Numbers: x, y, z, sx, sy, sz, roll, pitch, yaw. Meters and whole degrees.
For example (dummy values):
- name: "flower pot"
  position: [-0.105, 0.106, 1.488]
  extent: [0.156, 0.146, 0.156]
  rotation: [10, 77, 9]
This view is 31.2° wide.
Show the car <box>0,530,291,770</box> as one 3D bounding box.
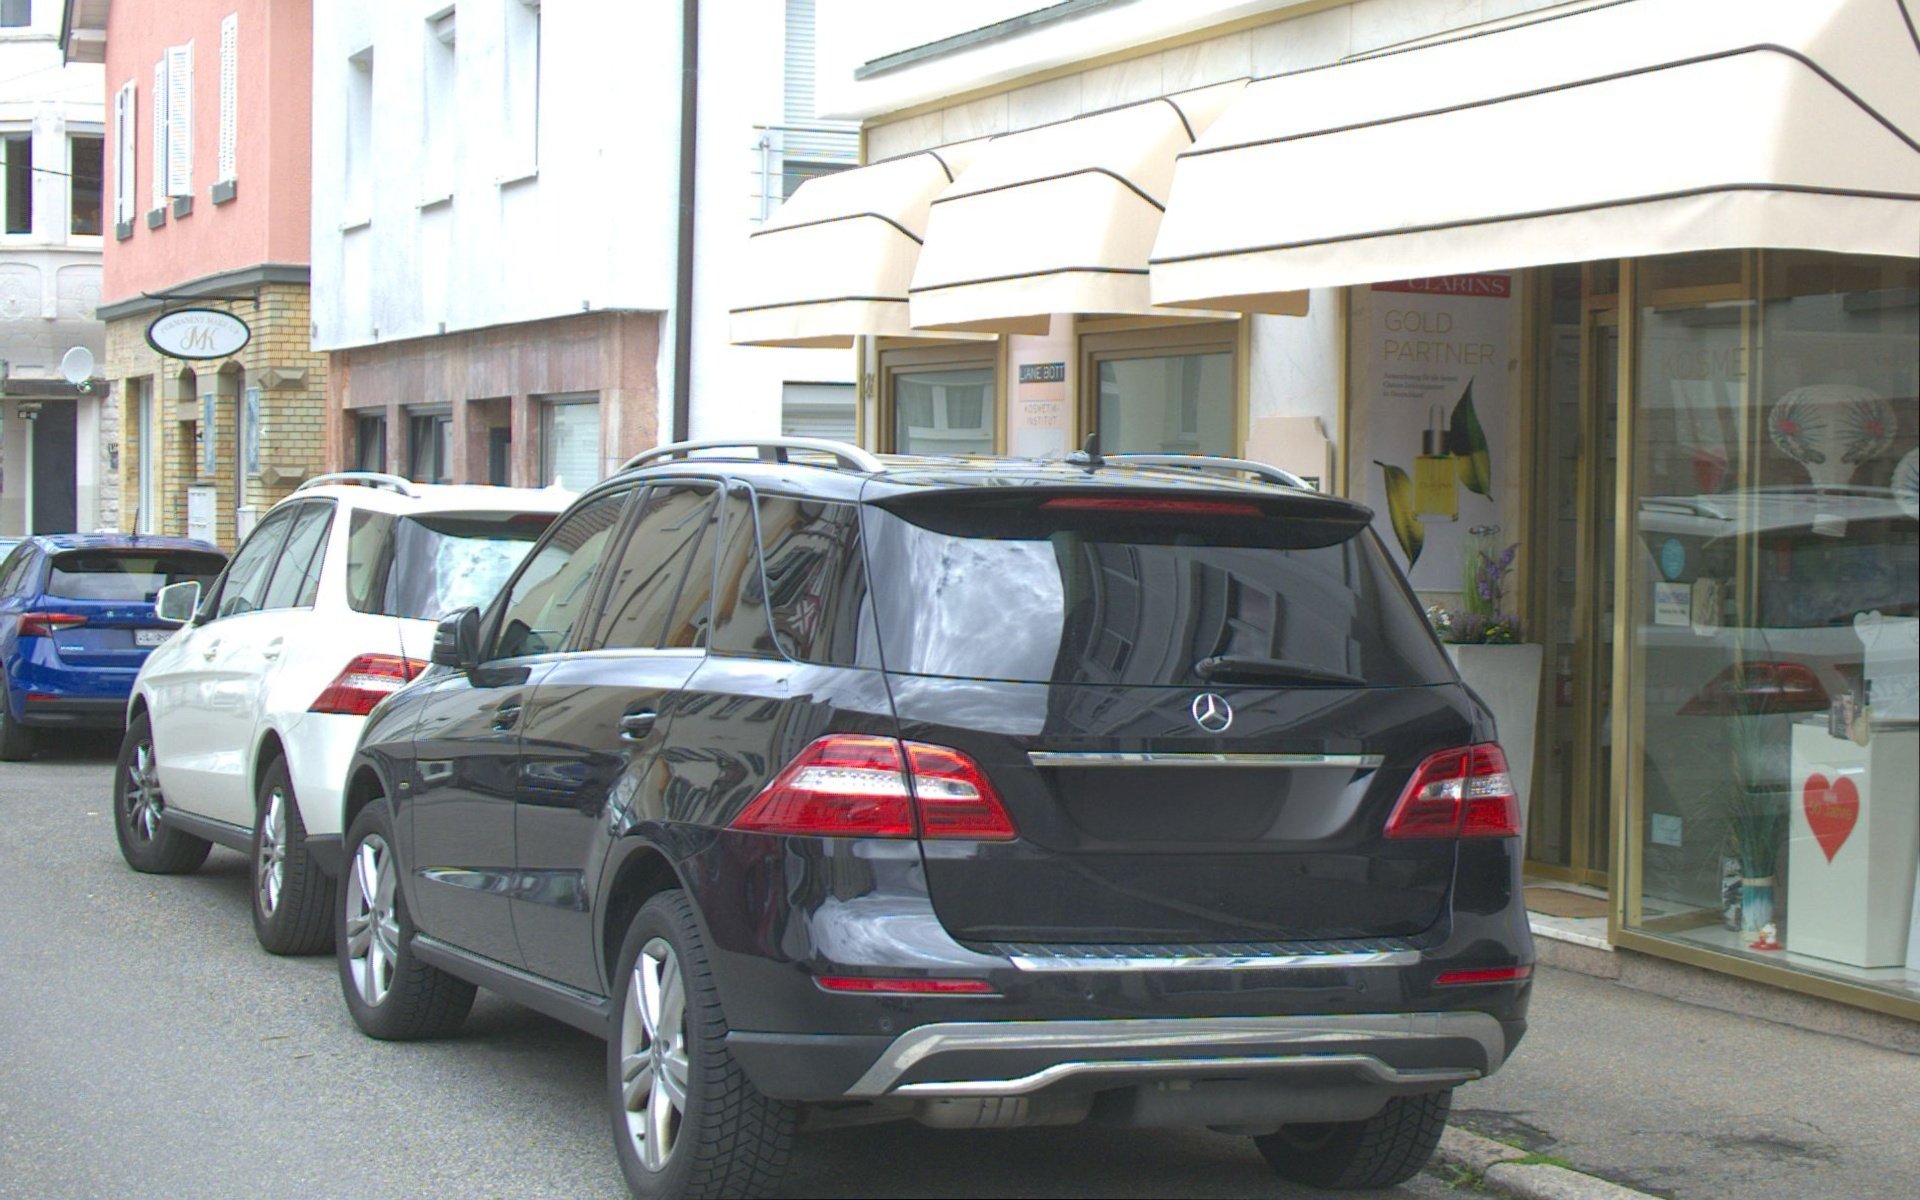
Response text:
- name: "car"
  position: [-5.770, 0.273, 23.159]
  extent: [1.774, 1.470, 3.783]
  rotation: [0, 1, -22]

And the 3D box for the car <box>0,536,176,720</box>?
- name: "car"
  position: [-7.632, 0.176, 27.908]
  extent: [1.748, 1.386, 4.033]
  rotation: [1, 1, -23]

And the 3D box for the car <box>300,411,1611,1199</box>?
- name: "car"
  position: [-0.326, 0.512, 9.162]
  extent: [1.940, 1.773, 4.370]
  rotation: [1, 0, -22]

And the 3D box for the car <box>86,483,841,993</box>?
- name: "car"
  position: [-2.187, 0.402, 13.885]
  extent: [1.933, 1.706, 4.378]
  rotation: [0, 2, -23]
